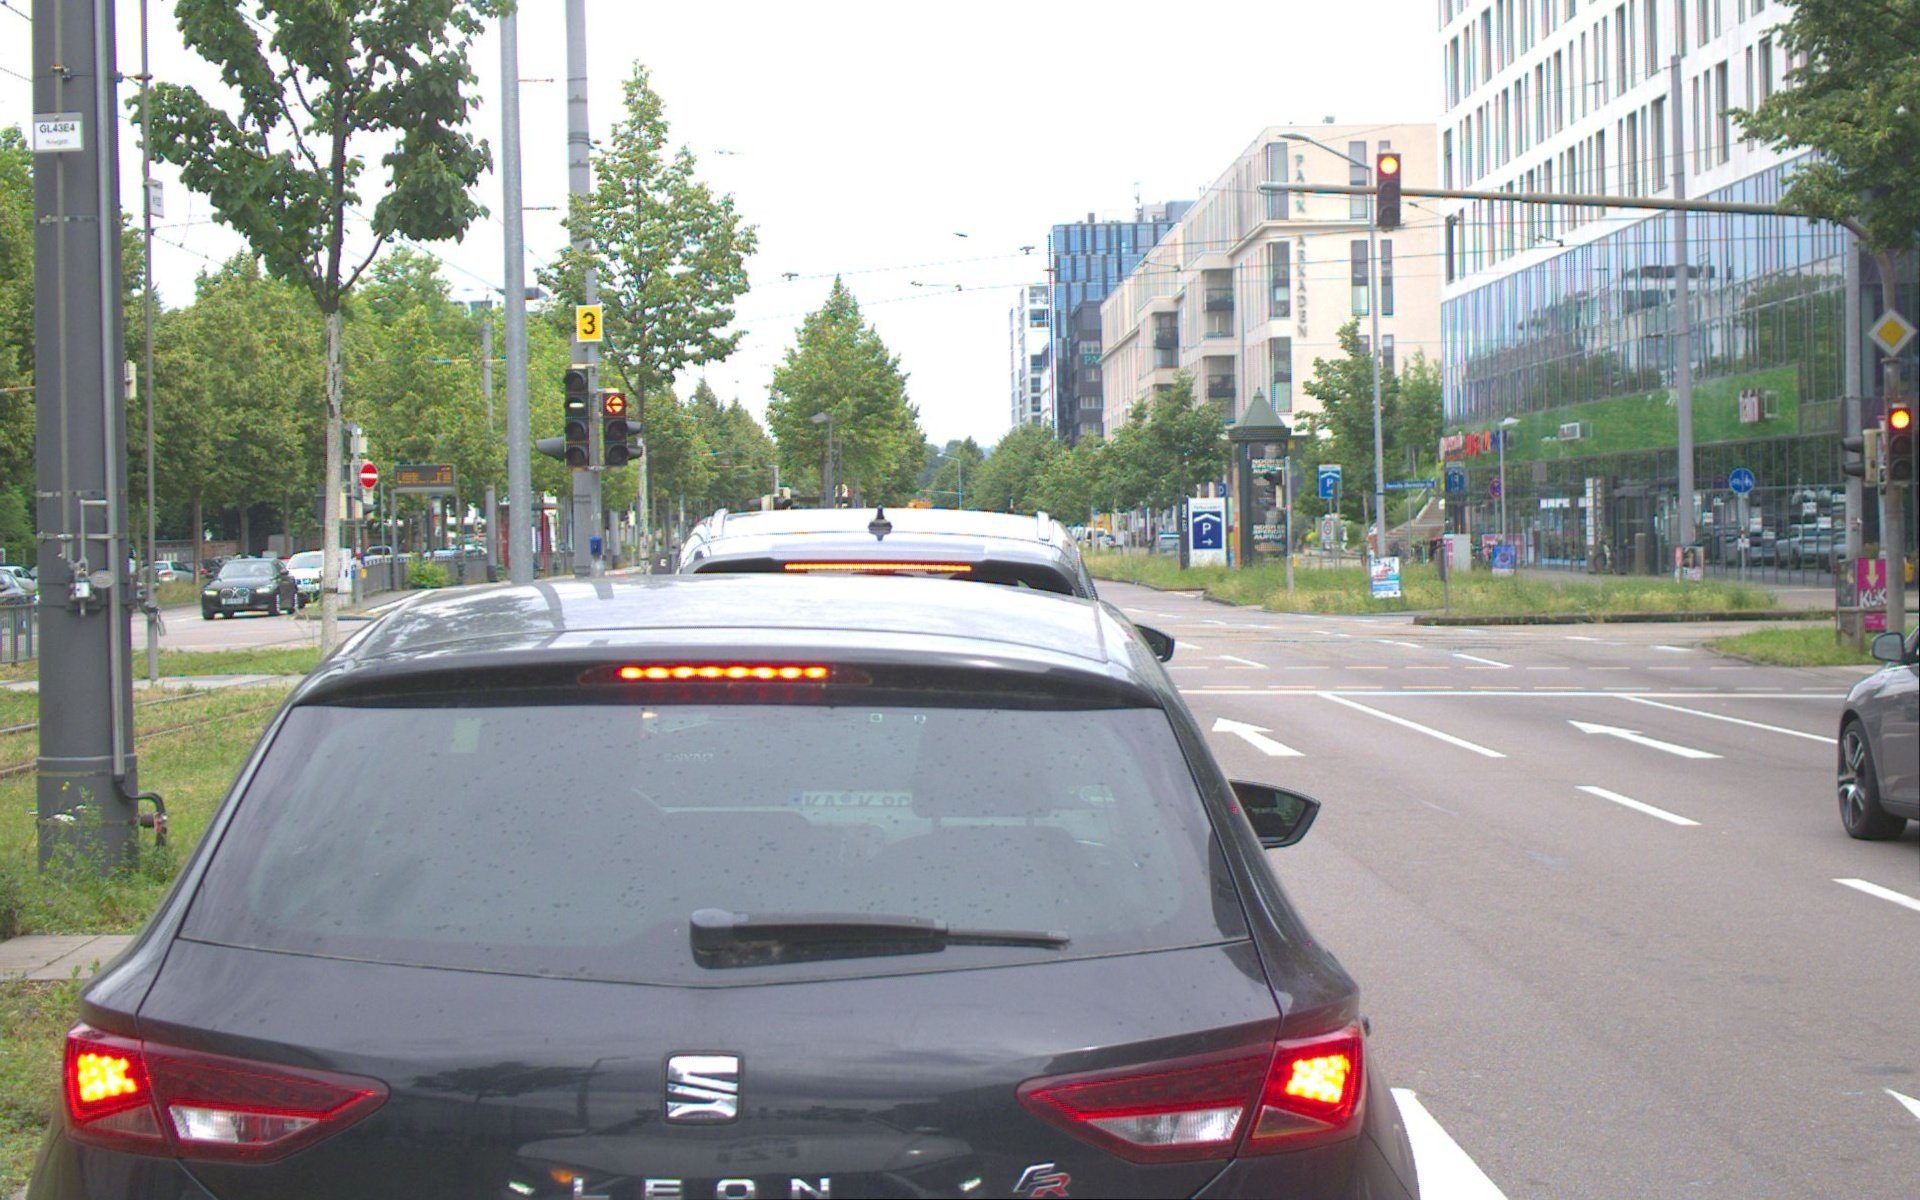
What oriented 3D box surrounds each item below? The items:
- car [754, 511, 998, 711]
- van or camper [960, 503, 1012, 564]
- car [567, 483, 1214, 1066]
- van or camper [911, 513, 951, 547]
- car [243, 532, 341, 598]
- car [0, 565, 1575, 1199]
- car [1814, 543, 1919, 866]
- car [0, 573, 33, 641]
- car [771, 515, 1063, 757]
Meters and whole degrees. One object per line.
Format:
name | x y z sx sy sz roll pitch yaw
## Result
car | -0.694 0.046 31.144 1.993 1.676 4.000 1 1 2
van or camper | 1.064 -2.773 141.806 2.109 2.348 4.924 0 3 0
car | -0.218 0.450 11.700 1.802 1.619 4.000 -1 1 -1
van or camper | -1.432 -3.535 173.204 1.993 1.609 4.789 0 2 0
car | -18.533 -0.988 95.585 1.993 1.744 4.201 -1 1 -2
car | -0.304 0.683 5.477 1.743 1.412 4.000 1 1 -1
car | 5.424 0.519 16.026 1.748 1.494 4.269 0 2 -1
car | -21.103 0.161 73.016 1.801 1.373 4.058 -1 1 -1
car | -0.243 0.204 26.084 1.994 1.676 4.000 1 1 2
